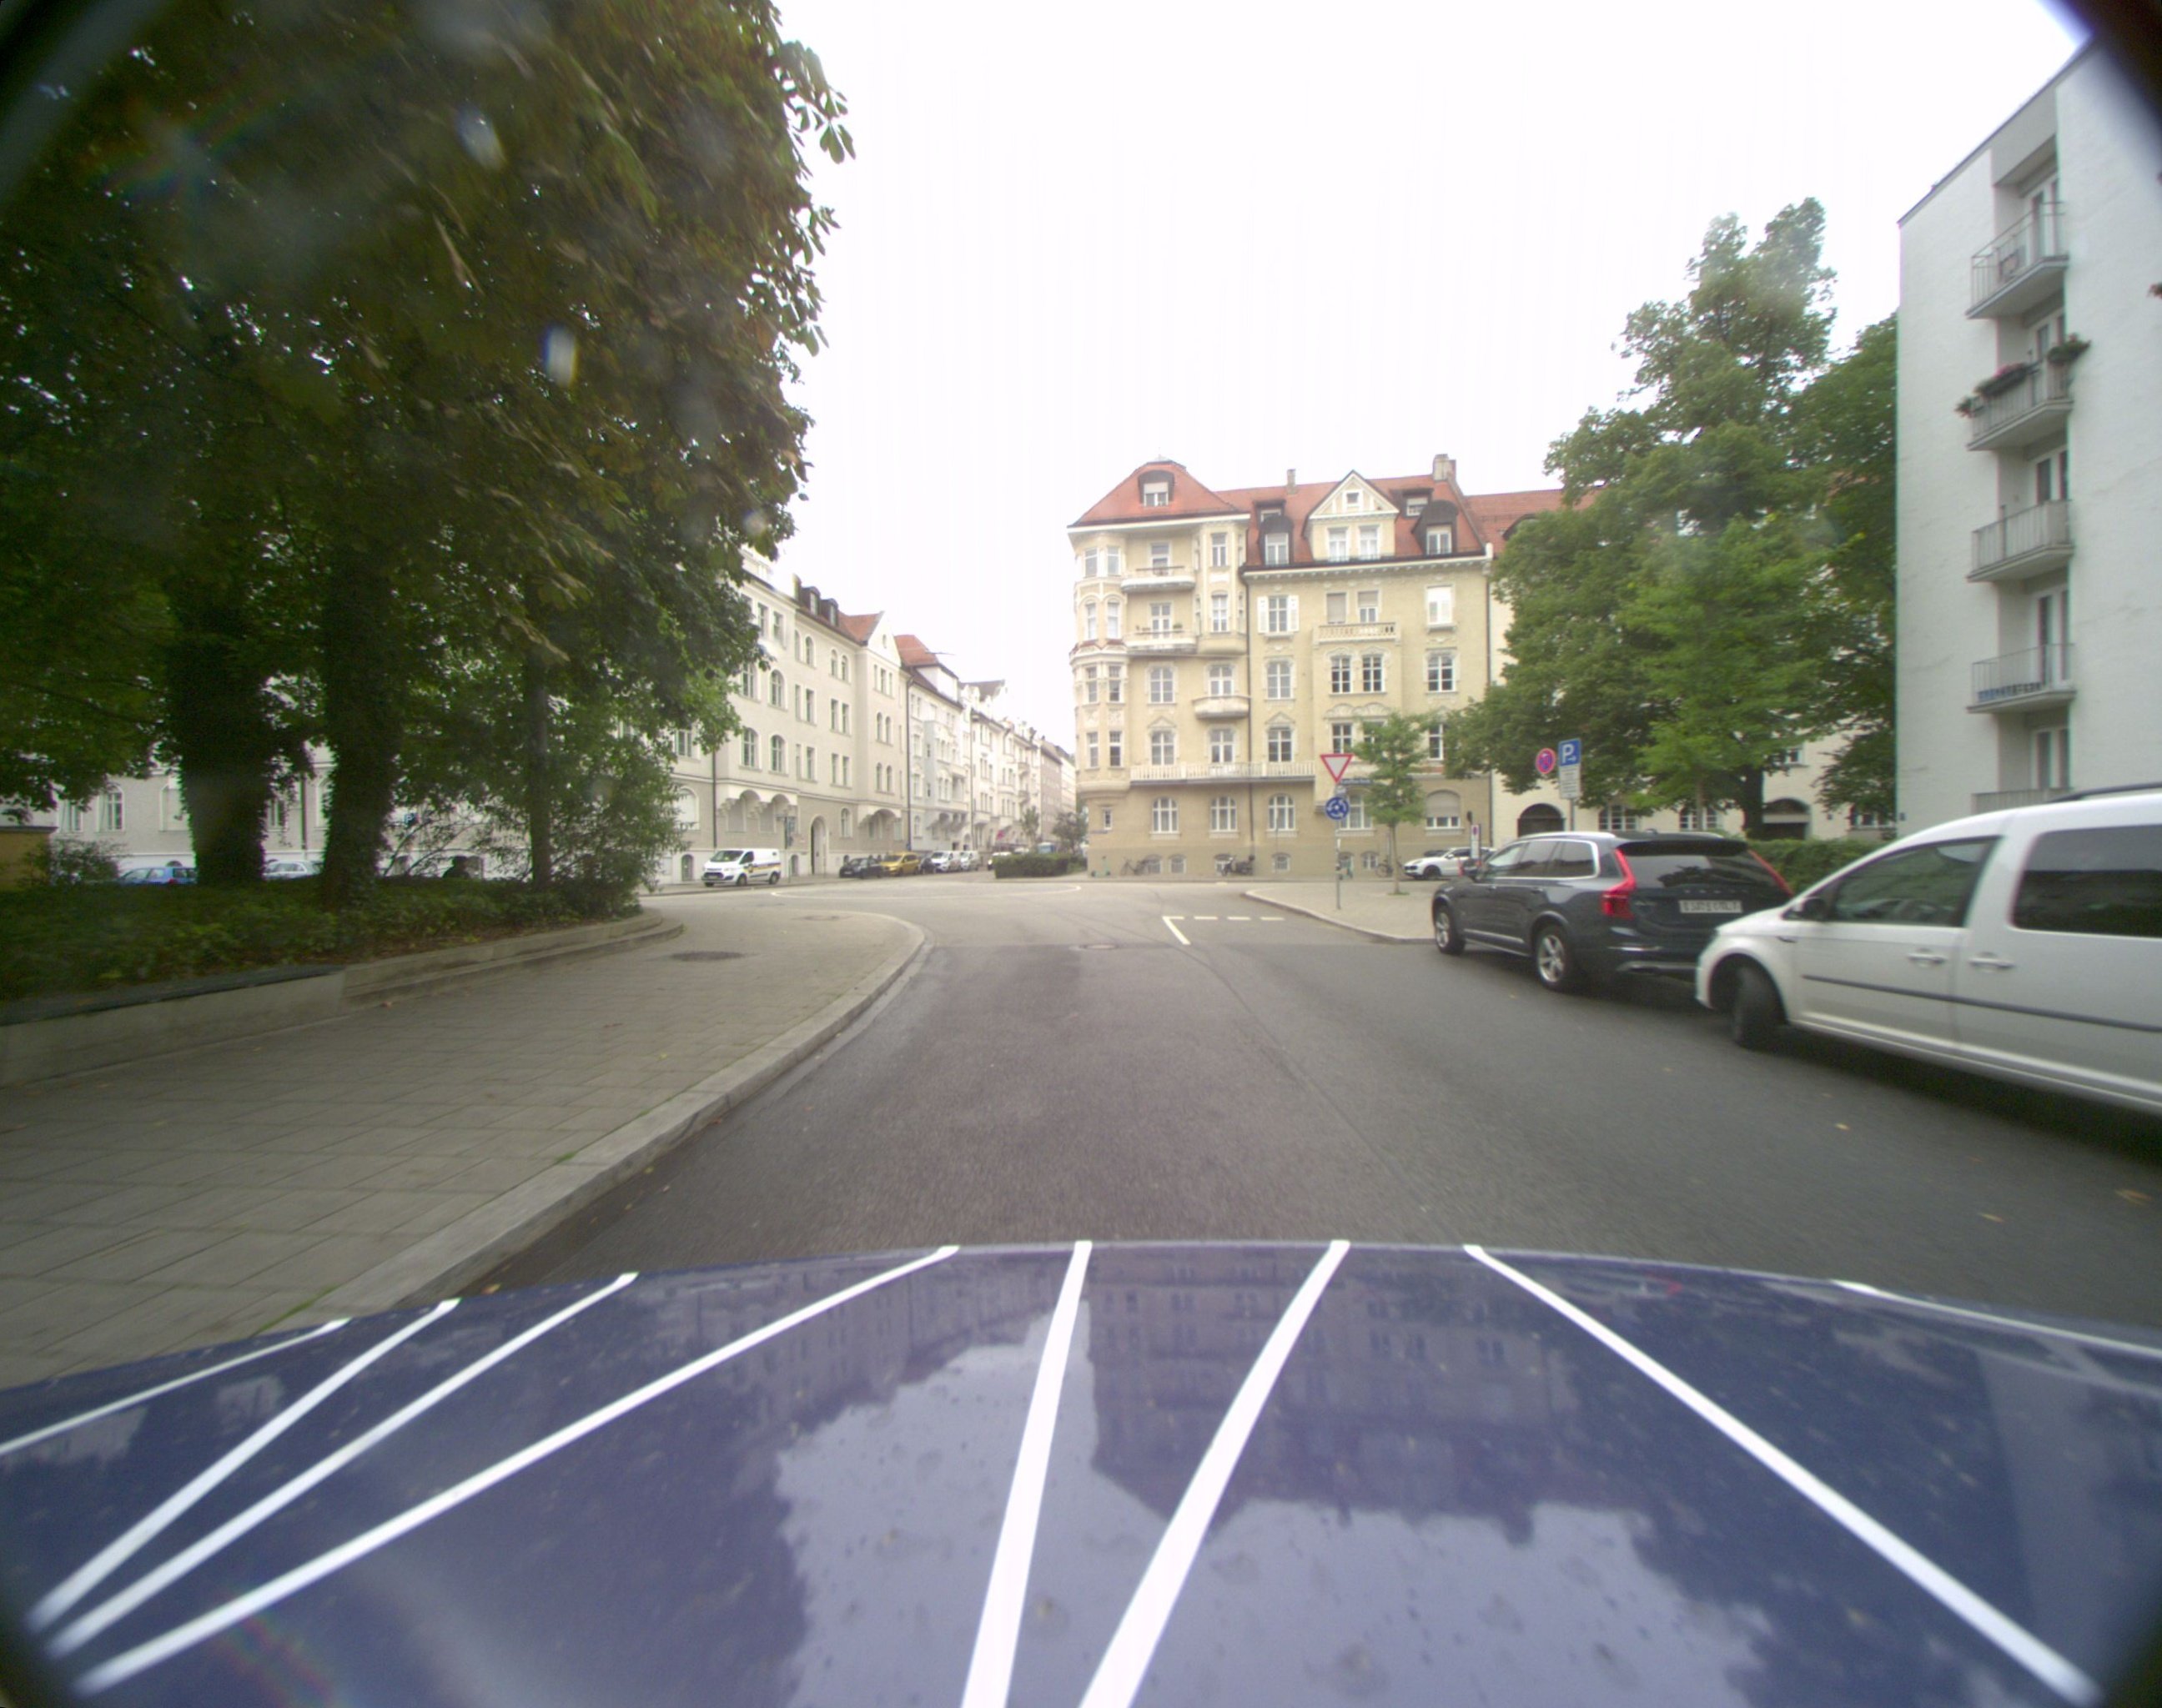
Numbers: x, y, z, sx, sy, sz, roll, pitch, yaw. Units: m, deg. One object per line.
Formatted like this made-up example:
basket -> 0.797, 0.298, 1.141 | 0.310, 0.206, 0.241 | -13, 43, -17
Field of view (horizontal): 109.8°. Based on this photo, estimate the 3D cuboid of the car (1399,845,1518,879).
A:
car -> 18.982, 0.392, 38.389 | 4.983, 1.666, 2.001 | -1, 1, 8

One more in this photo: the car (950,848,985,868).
car -> -11.078, 0.365, 74.641 | 1.997, 1.907, 4.881 | -1, 0, 9

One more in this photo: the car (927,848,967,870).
car -> -11.991, 0.417, 68.508 | 1.997, 1.907, 4.889 | -1, 0, 9

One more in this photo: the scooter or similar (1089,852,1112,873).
scooter or similar -> 1.177, 0.504, 45.062 | 1.284, 1.264, 0.458 | -1, 1, -9

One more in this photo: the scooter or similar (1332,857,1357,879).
scooter or similar -> 13.731, 0.715, 39.582 | 1.349, 1.102, 0.541 | -1, 1, -36

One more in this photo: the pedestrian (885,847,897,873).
pedestrian -> -15.175, 0.476, 60.638 | 0.584, 2.002, 0.728 | -1, 1, 12

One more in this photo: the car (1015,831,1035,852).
car -> -7.336, -1.655, 99.839 | 2.082, 2.673, 5.444 | 1, 1, 1

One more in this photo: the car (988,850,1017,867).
car -> -7.767, 0.440, 75.771 | 1.918, 1.648, 4.603 | -1, 0, 7

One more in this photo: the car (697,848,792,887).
car -> -17.548, 0.632, 39.980 | 1.942, 1.911, 5.378 | 0, 0, 9

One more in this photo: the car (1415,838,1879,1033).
car -> 6.142, 0.703, 9.365 | 2.088, 1.709, 5.306 | -1, 1, 5

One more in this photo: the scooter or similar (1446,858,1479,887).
scooter or similar -> 14.260, 0.677, 28.448 | 0.528, 1.018, 1.311 | -1, 0, -3

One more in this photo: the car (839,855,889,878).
car -> -14.854, 0.830, 52.232 | 1.715, 1.437, 3.830 | -1, 0, 10

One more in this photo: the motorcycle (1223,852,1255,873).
motorcycle -> 9.125, 0.463, 43.956 | 1.744, 1.179, 0.742 | -1, 1, 5

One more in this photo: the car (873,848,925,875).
car -> -13.718, 0.537, 57.540 | 1.996, 1.907, 4.575 | -1, 0, 13

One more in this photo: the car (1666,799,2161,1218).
car -> 5.952, 0.679, 4.081 | 2.088, 1.892, 4.859 | -1, 1, 3

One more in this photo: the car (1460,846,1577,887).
car -> 17.283, 0.518, 30.168 | 3.671, 1.518, 1.677 | -1, -2, 8

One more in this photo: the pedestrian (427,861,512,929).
pedestrian -> -12.825, 0.845, 15.964 | 0.770, 1.349, 1.132 | -1, 1, 11

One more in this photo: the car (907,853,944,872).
car -> -12.832, 0.709, 62.975 | 1.636, 1.505, 3.888 | -1, 0, 11

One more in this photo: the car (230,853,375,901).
car -> -30.967, 0.904, 30.284 | 4.244, 1.785, 1.894 | -1, 1, 9

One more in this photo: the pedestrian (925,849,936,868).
pedestrian -> -14.822, 0.429, 74.757 | 0.853, 1.892, 0.746 | 0, 1, 13

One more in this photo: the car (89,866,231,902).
car -> -38.782, 1.244, 32.036 | 4.244, 1.396, 1.894 | -1, 1, 9

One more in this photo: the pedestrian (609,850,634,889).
pedestrian -> -21.292, 0.699, 35.220 | 0.931, 1.790, 0.997 | -1, 1, -30

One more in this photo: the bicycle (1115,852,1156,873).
bicycle -> 3.226, 0.513, 44.993 | 2.337, 1.196, 0.699 | -1, 1, 4

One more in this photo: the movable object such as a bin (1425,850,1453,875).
movable object such as a bin -> 19.874, 0.442, 42.186 | 1.179, 1.363, 1.149 | -1, 1, 11

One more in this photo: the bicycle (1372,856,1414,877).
bicycle -> 16.722, 0.653, 40.700 | 1.974, 1.062, 0.654 | -1, 1, 0
